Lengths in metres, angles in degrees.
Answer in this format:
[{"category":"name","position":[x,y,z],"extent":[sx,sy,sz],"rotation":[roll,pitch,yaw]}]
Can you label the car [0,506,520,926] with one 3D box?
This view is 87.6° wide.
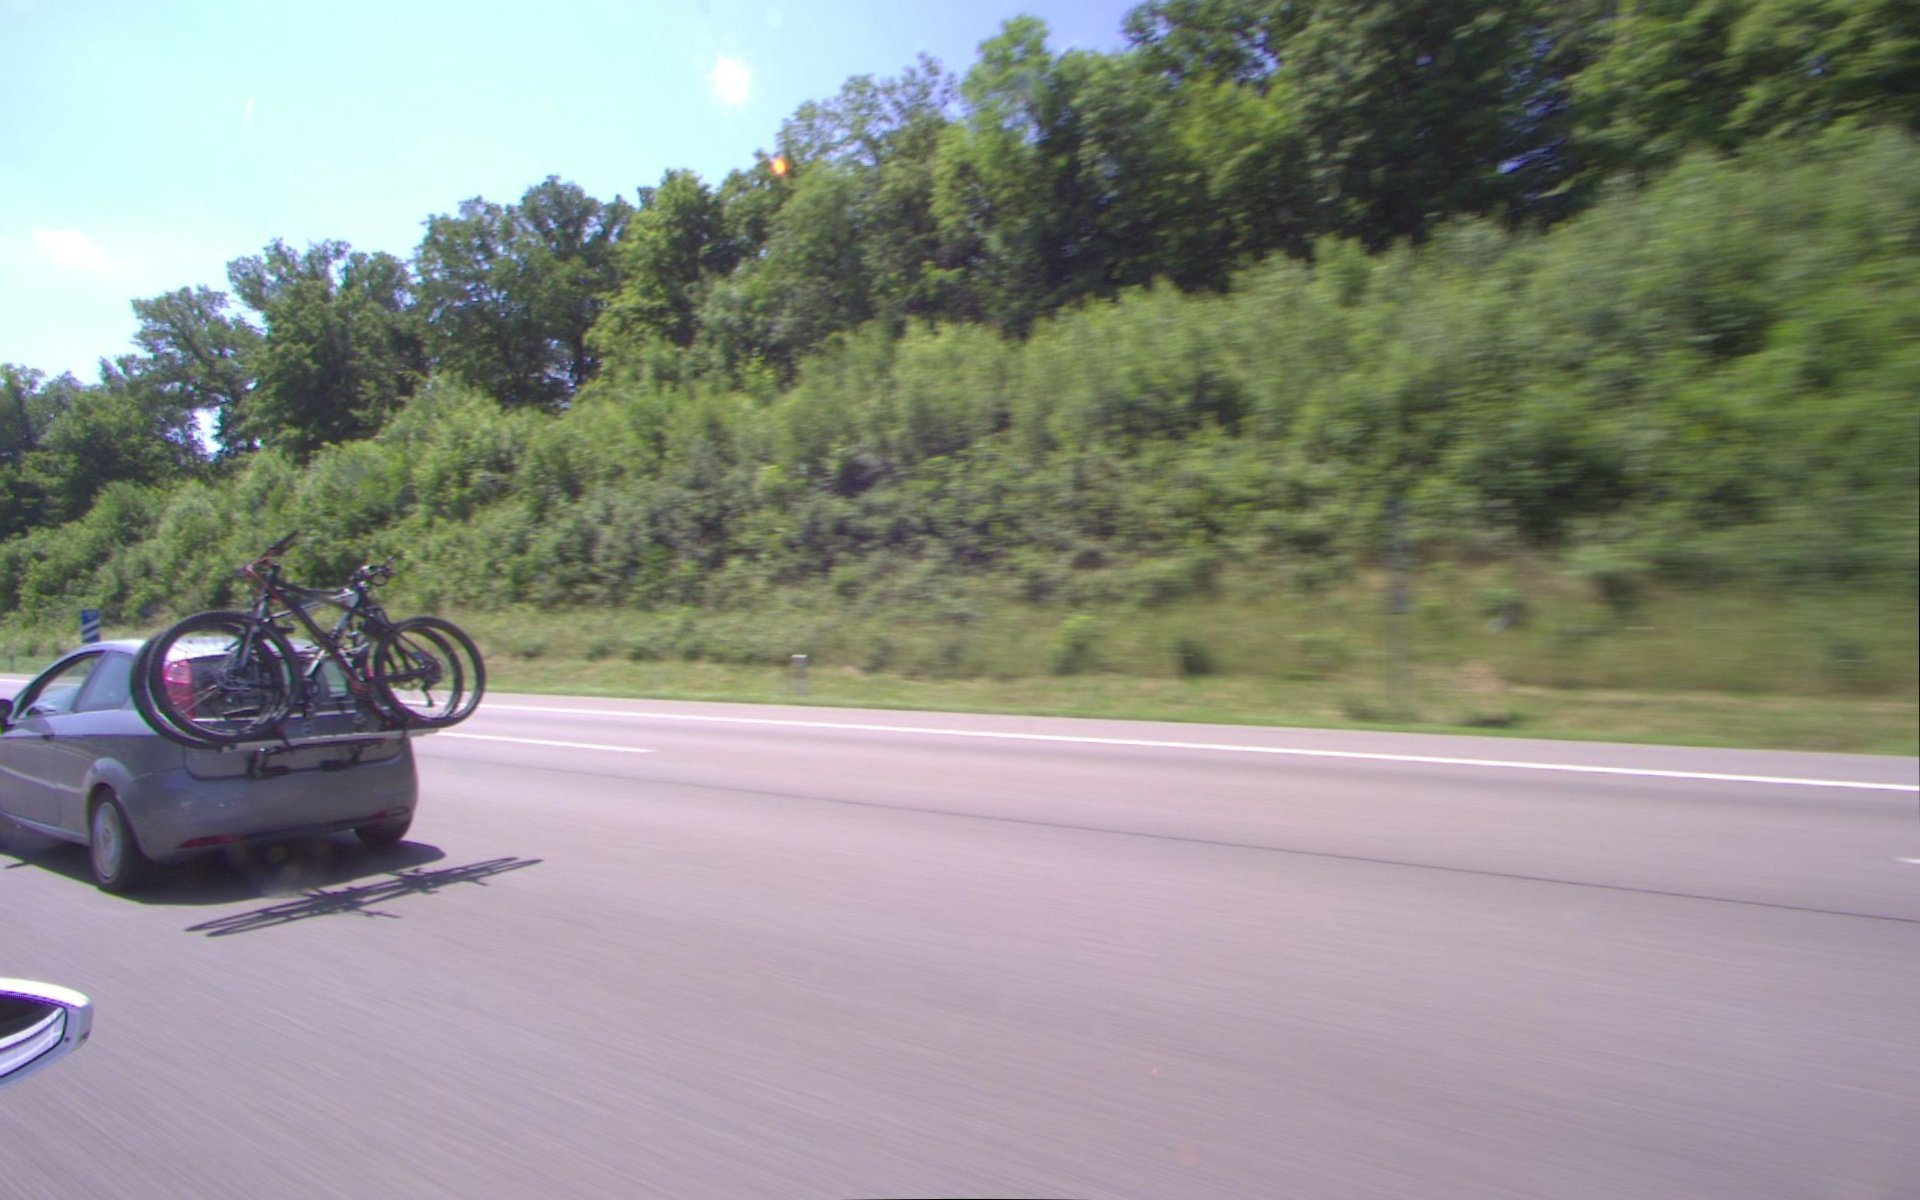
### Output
[{"category":"car","position":[-5.413,0.639,7.084],"extent":[4.716,2.080,1.957],"rotation":[-1,-1,33]}]
